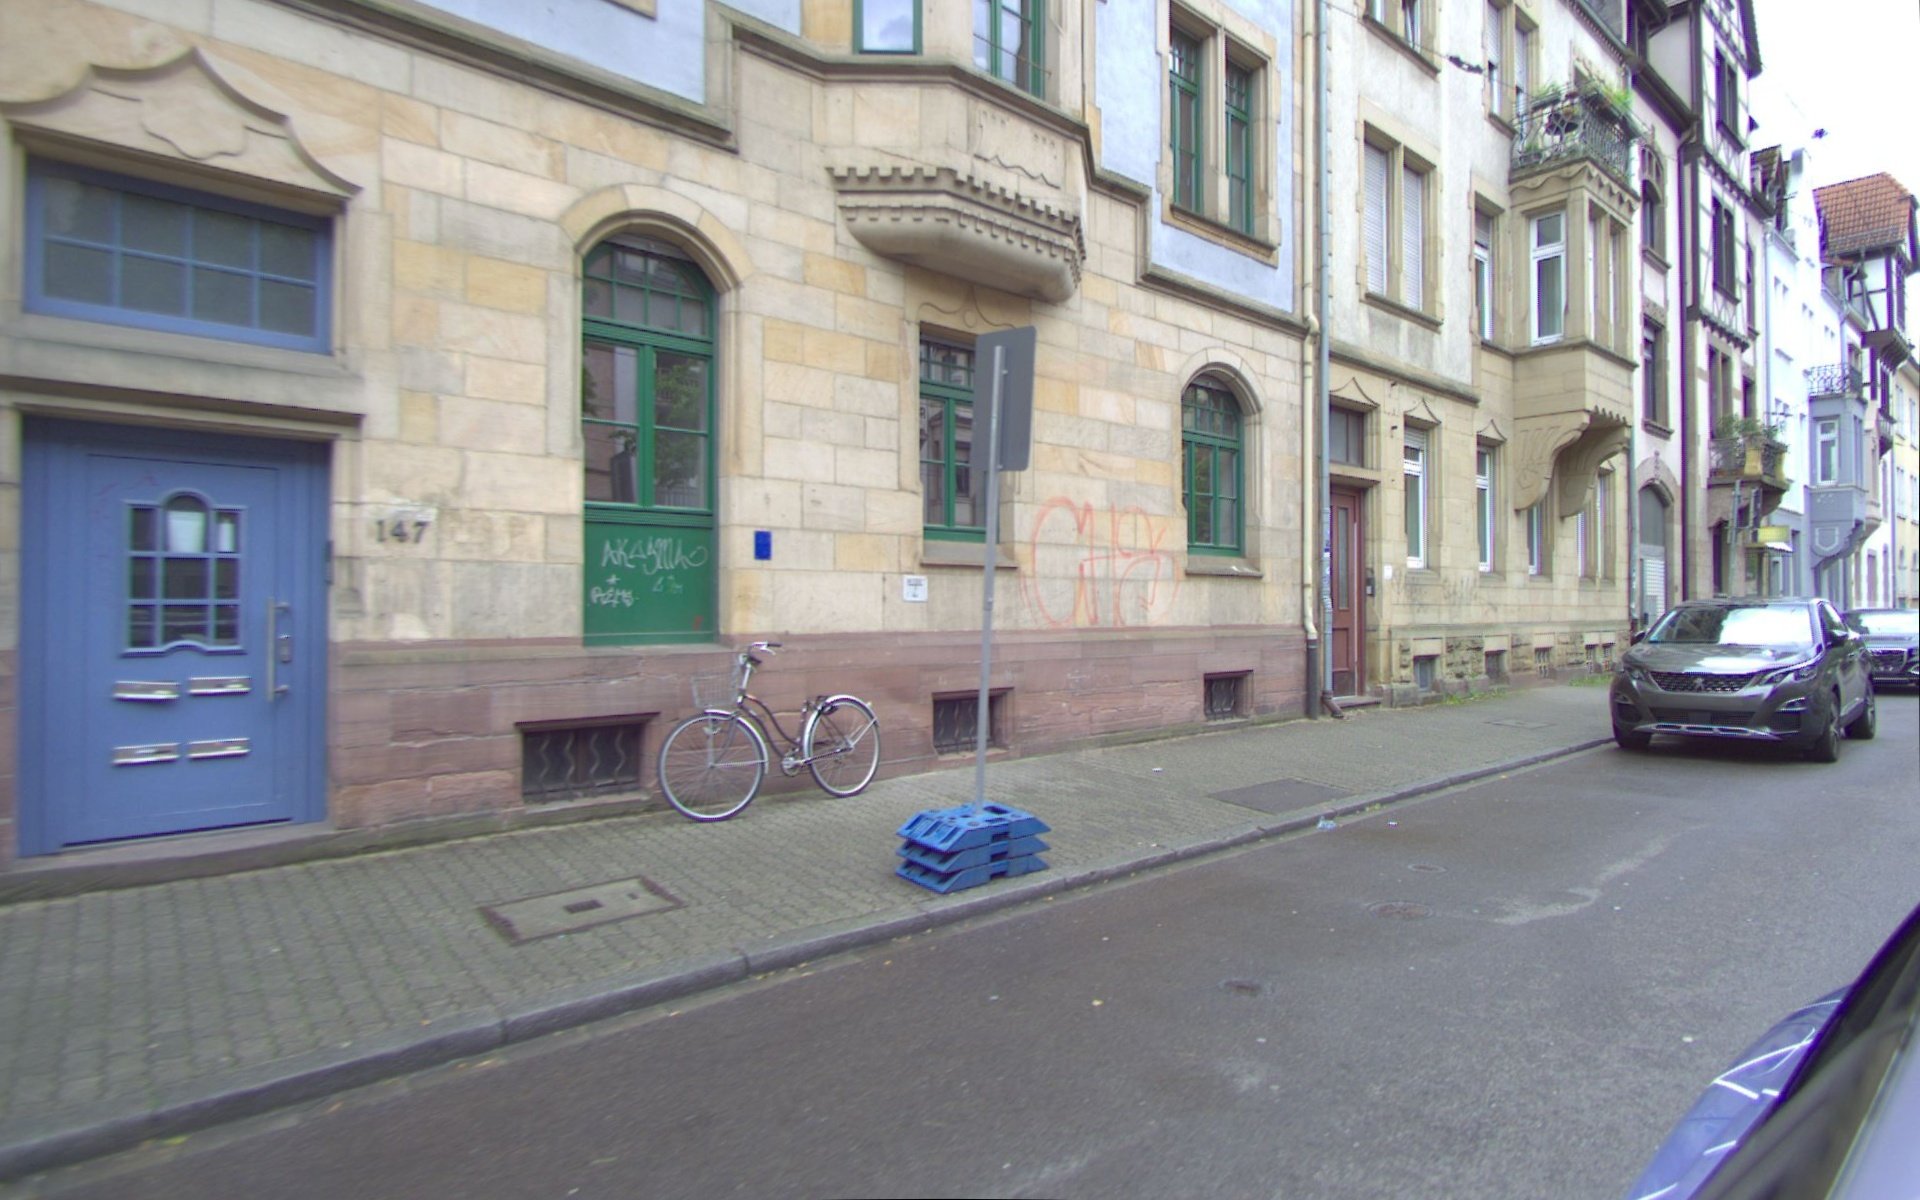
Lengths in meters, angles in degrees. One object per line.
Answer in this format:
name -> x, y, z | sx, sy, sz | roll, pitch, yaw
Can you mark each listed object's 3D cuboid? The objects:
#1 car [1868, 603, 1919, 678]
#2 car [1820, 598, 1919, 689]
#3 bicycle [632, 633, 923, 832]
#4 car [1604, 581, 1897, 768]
car -> 21.317, 0.832, 22.084 | 4.315, 1.533, 1.699 | 0, -3, -42
car -> 17.564, 0.773, 18.875 | 4.344, 1.533, 1.699 | 0, -3, -42
bicycle -> -1.186, 0.822, 6.873 | 1.883, 1.141, 0.612 | 0, -4, -41
car -> 8.804, 0.672, 11.113 | 4.614, 1.643, 1.761 | 0, -1, -42
